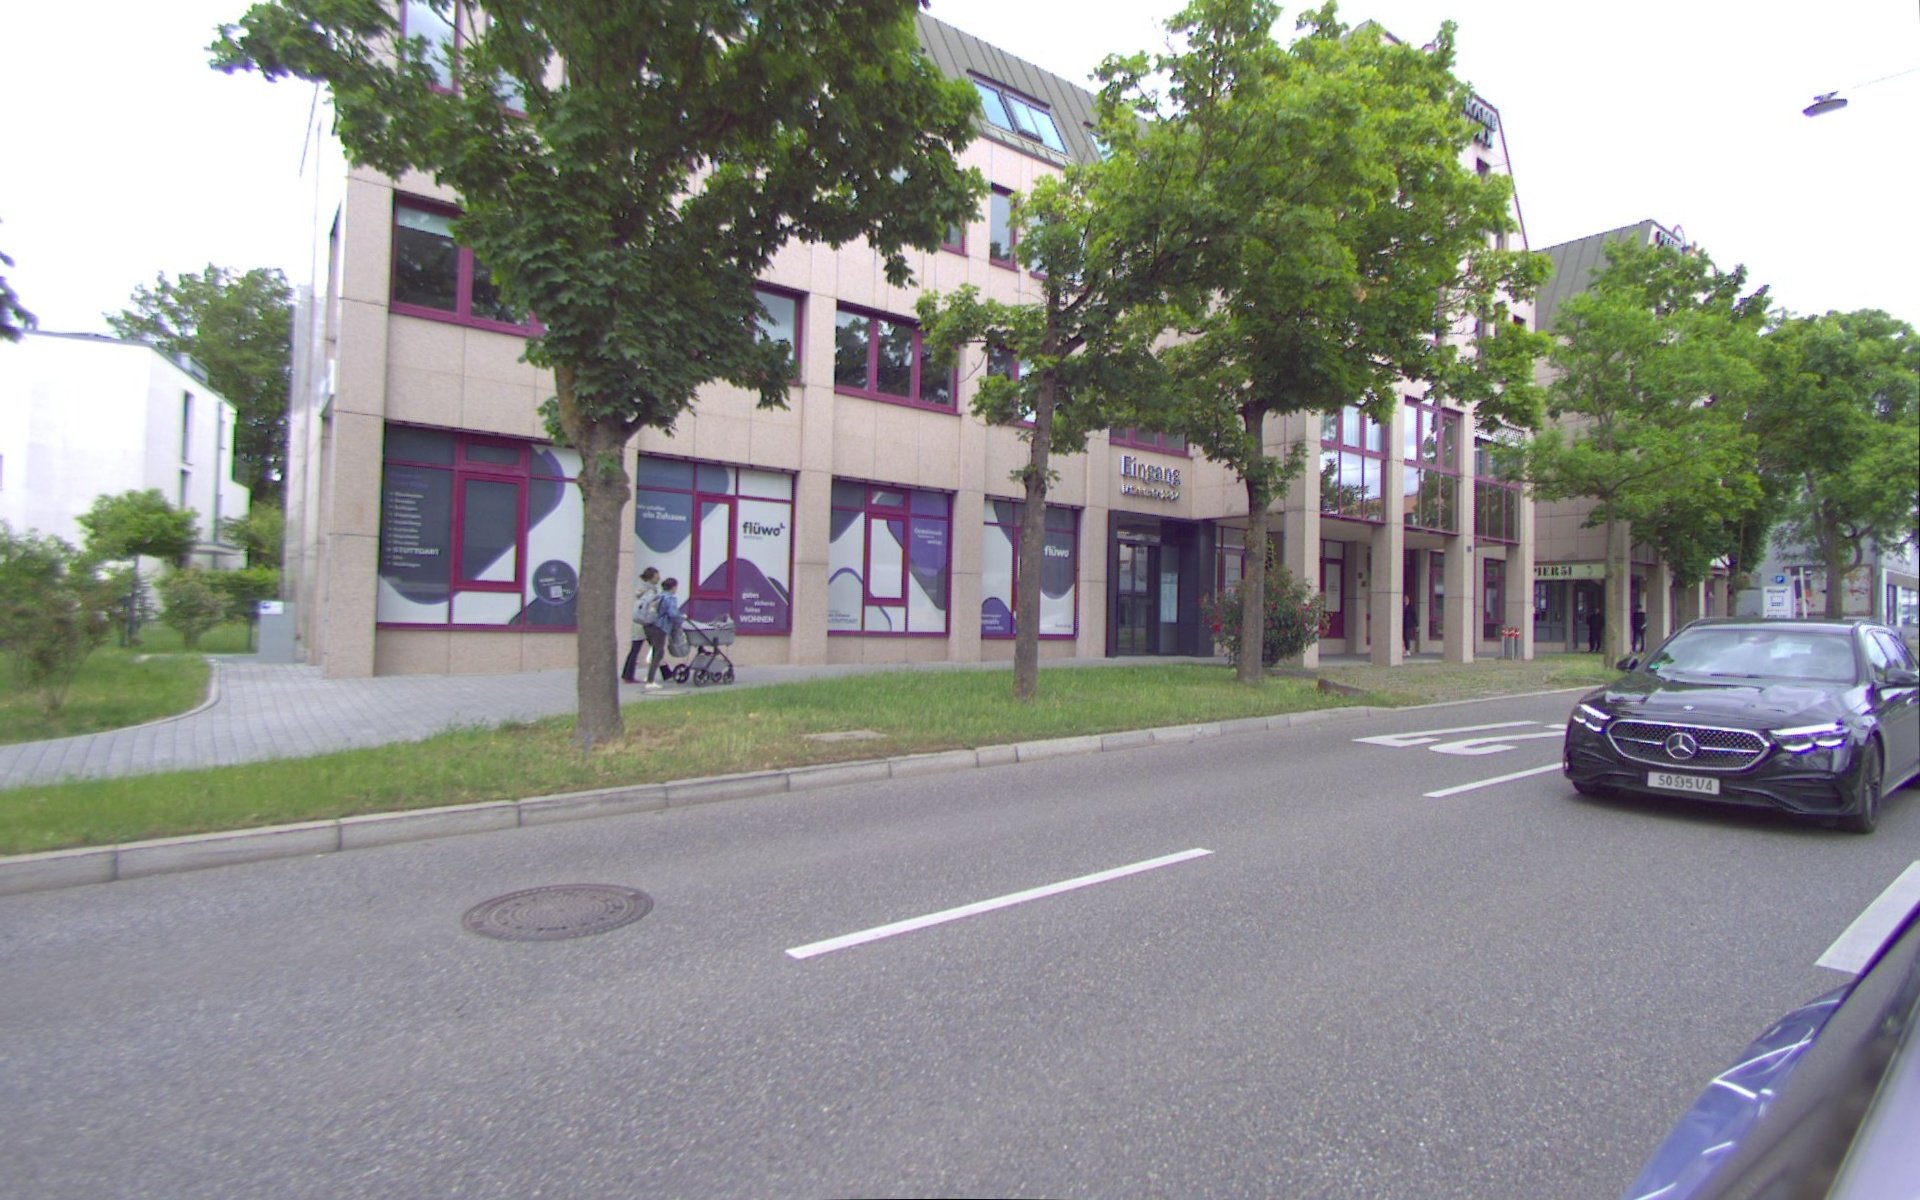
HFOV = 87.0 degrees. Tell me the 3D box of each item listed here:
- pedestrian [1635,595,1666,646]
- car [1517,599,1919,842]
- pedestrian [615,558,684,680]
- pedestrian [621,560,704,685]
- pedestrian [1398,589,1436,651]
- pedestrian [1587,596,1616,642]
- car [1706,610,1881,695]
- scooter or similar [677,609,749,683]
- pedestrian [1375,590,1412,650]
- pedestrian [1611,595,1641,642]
[{"bbox_3d":[25.649,0.765,37.592,0.827,1.849,0.659,1,1,-37],"label":"pedestrian"},{"bbox_3d":[6.878,0.776,8.673,4.884,1.505,2.057,1,0,-40],"label":"car"},{"bbox_3d":[-4.520,0.266,14.730,0.814,1.721,0.569,1,-1,-37],"label":"pedestrian"},{"bbox_3d":[-4.137,0.297,14.092,0.943,1.673,0.557,1,0,-36],"label":"pedestrian"},{"bbox_3d":[12.977,0.552,28.737,0.951,1.726,0.596,1,-1,-36],"label":"pedestrian"},{"bbox_3d":[24.658,0.719,38.910,0.827,1.712,0.659,1,1,-37],"label":"pedestrian"},{"bbox_3d":[16.896,0.973,20.431,4.614,1.491,1.798,0,0,-38],"label":"car"},{"bbox_3d":[-3.545,0.649,14.534,0.830,1.006,0.585,1,1,-36],"label":"scooter or similar"},{"bbox_3d":[12.558,0.571,29.328,0.951,1.726,0.596,1,-1,-36],"label":"pedestrian"},{"bbox_3d":[25.191,0.698,38.273,0.827,1.712,0.659,1,1,-37],"label":"pedestrian"}]
